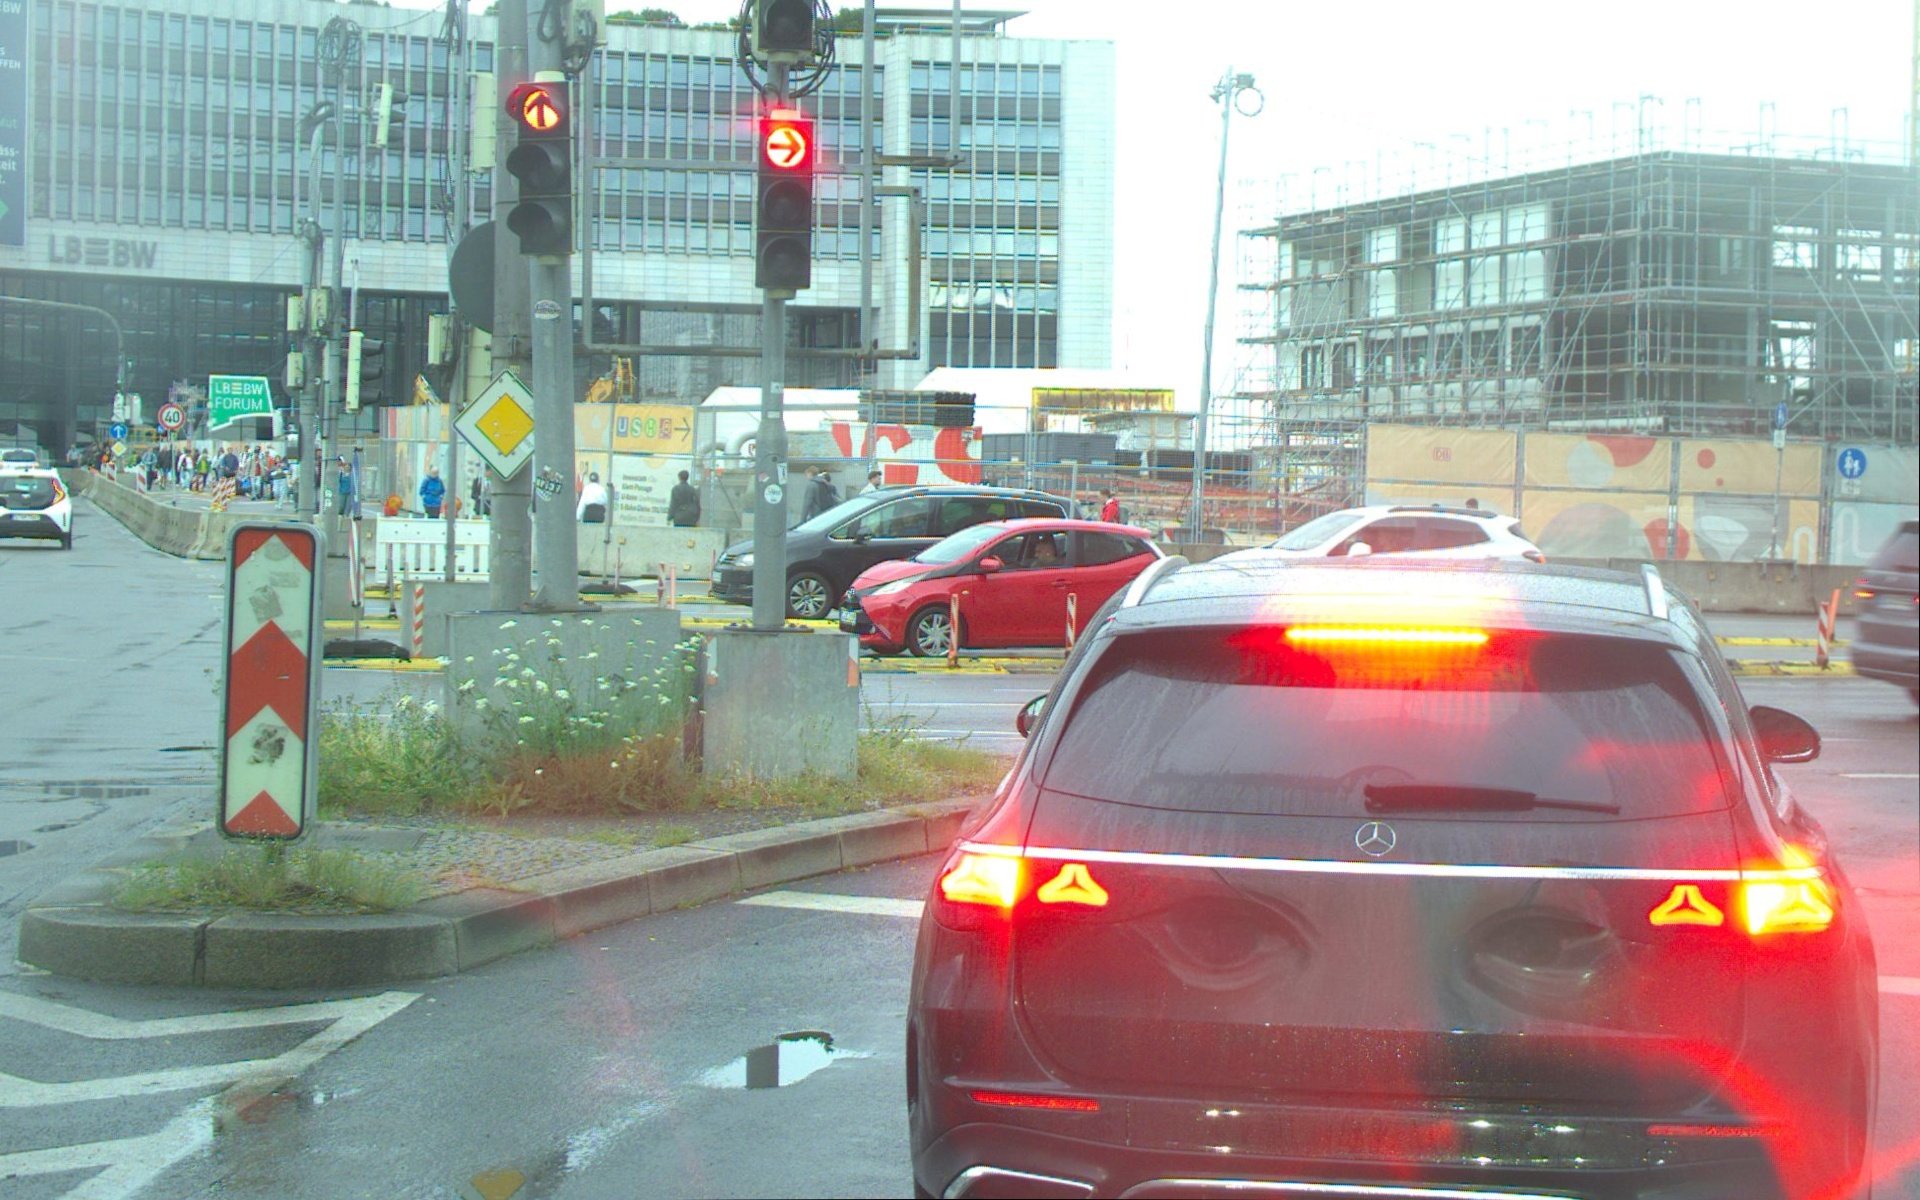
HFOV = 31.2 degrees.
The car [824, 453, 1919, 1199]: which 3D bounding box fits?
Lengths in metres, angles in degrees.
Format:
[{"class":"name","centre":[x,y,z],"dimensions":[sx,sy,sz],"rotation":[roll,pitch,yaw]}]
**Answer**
[{"class":"car","centre":[0.893,0.554,7.709],"dimensions":[1.891,1.538,3.993],"rotation":[2,0,5]}]

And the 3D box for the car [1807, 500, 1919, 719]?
[{"class":"car","centre":[10.102,0.149,29.556],"dimensions":[5.084,1.791,2.001],"rotation":[2,0,-14]}]

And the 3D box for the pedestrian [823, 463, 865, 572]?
[{"class":"pedestrian","centre":[-2.035,-1.456,60.421],"dimensions":[0.575,1.891,0.361],"rotation":[2,0,30]}]

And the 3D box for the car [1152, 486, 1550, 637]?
[{"class":"car","centre":[4.484,-0.433,39.559],"dimensions":[4.039,1.547,2.001],"rotation":[2,0,-19]}]

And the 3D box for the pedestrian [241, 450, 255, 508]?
[{"class":"pedestrian","centre":[-23.587,-4.003,113.912],"dimensions":[0.361,1.891,0.576],"rotation":[2,0,-14]}]

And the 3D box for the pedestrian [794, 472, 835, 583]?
[{"class":"pedestrian","centre":[-2.518,-1.248,59.443],"dimensions":[0.575,1.891,0.362],"rotation":[2,0,14]}]

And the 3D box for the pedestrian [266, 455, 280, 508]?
[{"class":"pedestrian","centre":[-24.535,-4.232,122.745],"dimensions":[0.361,1.891,0.576],"rotation":[2,0,-18]}]

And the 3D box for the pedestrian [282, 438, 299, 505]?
[{"class":"pedestrian","centre":[-19.181,-3.671,98.512],"dimensions":[0.361,1.891,0.576],"rotation":[2,0,-18]}]

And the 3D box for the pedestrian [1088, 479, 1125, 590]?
[{"class":"pedestrian","centre":[2.528,-1.120,59.324],"dimensions":[0.574,1.891,0.362],"rotation":[2,0,2]}]

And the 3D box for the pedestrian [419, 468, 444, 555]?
[{"class":"pedestrian","centre":[-11.508,-1.923,74.850],"dimensions":[0.361,1.891,0.576],"rotation":[2,0,-22]}]

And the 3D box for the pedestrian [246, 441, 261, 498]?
[{"class":"pedestrian","centre":[-24.033,-4.443,116.941],"dimensions":[0.361,1.891,0.576],"rotation":[2,0,-18]}]

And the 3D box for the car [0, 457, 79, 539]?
[{"class":"car","centre":[-18.033,-1.932,65.856],"dimensions":[1.780,1.468,3.560],"rotation":[2,0,-21]}]

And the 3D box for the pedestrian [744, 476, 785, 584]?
[{"class":"pedestrian","centre":[-3.467,-1.235,61.008],"dimensions":[0.575,1.891,0.362],"rotation":[2,0,13]}]

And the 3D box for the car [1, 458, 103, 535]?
[{"class":"car","centre":[-22.601,-2.543,85.493],"dimensions":[1.993,1.760,4.420],"rotation":[2,0,-20]}]

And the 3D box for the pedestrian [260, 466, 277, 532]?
[{"class":"pedestrian","centre":[-20.211,-2.954,100.526],"dimensions":[0.361,1.891,0.576],"rotation":[2,0,-18]}]

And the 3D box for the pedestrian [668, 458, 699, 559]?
[{"class":"pedestrian","centre":[-5.210,-1.717,64.707],"dimensions":[0.361,1.891,0.576],"rotation":[2,0,-22]}]

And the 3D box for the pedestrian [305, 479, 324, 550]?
[{"class":"pedestrian","centre":[-17.406,-2.313,92.679],"dimensions":[0.361,1.891,0.576],"rotation":[2,0,-18]}]

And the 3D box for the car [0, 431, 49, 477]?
[{"class":"car","centre":[-37.309,-5.820,136.394],"dimensions":[1.727,1.634,3.436],"rotation":[2,3,-22]}]

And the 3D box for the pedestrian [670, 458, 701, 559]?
[{"class":"pedestrian","centre":[-5.172,-1.716,64.700],"dimensions":[0.361,1.891,0.576],"rotation":[2,0,-22]}]

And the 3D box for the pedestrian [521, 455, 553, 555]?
[{"class":"pedestrian","centre":[-8.118,-1.821,65.935],"dimensions":[0.361,1.891,0.576],"rotation":[2,0,-27]}]

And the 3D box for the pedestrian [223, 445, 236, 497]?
[{"class":"pedestrian","centre":[-27.240,-4.811,128.231],"dimensions":[0.361,1.891,0.576],"rotation":[2,0,-18]}]

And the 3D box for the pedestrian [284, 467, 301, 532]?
[{"class":"pedestrian","centre":[-19.566,-2.944,100.758],"dimensions":[0.361,1.891,0.576],"rotation":[2,0,-18]}]

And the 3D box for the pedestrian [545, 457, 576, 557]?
[{"class":"pedestrian","centre":[-7.685,-1.786,66.123],"dimensions":[0.361,1.891,0.576],"rotation":[1,0,-28]}]

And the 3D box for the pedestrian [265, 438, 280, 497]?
[{"class":"pedestrian","centre":[-22.546,-4.347,112.705],"dimensions":[0.361,1.891,0.576],"rotation":[2,0,-18]}]

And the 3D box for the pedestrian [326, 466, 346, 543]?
[{"class":"pedestrian","centre":[-15.445,-2.369,85.110],"dimensions":[0.361,1.891,0.576],"rotation":[2,0,-18]}]

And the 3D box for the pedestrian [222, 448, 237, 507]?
[{"class":"pedestrian","centre":[-23.909,-4.010,112.510],"dimensions":[0.361,1.891,0.576],"rotation":[2,0,-18]}]

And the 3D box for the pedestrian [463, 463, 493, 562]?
[{"class":"pedestrian","centre":[-9.306,-1.682,66.386],"dimensions":[0.361,1.891,0.576],"rotation":[2,0,-26]}]

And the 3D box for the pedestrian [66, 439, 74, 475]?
[{"class":"pedestrian","centre":[-47.031,-7.542,181.697],"dimensions":[0.361,1.891,0.576],"rotation":[2,0,-15]}]

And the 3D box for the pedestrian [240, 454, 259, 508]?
[{"class":"pedestrian","centre":[-25.235,-4.223,122.113],"dimensions":[0.519,1.891,0.576],"rotation":[2,0,-18]}]

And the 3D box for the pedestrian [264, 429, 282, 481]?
[{"class":"pedestrian","centre":[-25.521,-5.370,127.720],"dimensions":[0.519,1.891,0.576],"rotation":[2,0,-18]}]

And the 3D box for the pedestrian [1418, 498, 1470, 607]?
[{"class":"pedestrian","centre":[8.538,-0.837,60.699],"dimensions":[0.655,1.895,0.632],"rotation":[2,0,-14]}]

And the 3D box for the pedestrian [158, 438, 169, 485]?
[{"class":"pedestrian","centre":[-32.533,-5.661,140.415],"dimensions":[0.361,1.891,0.576],"rotation":[2,0,-18]}]

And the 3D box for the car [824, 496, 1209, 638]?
[{"class":"car","centre":[0.567,-0.329,35.115],"dimensions":[3.532,1.300,1.666],"rotation":[2,0,-19]}]

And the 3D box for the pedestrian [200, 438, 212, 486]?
[{"class":"pedestrian","centre":[-30.322,-5.548,138.180],"dimensions":[0.361,1.891,0.576],"rotation":[2,0,-18]}]

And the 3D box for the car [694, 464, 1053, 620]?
[{"class":"car","centre":[-1.083,-0.697,42.396],"dimensions":[3.985,1.728,2.001],"rotation":[2,0,-16]}]

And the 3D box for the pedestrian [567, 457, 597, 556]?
[{"class":"pedestrian","centre":[-7.285,-1.793,66.271],"dimensions":[0.361,1.891,0.576],"rotation":[2,0,-22]}]
